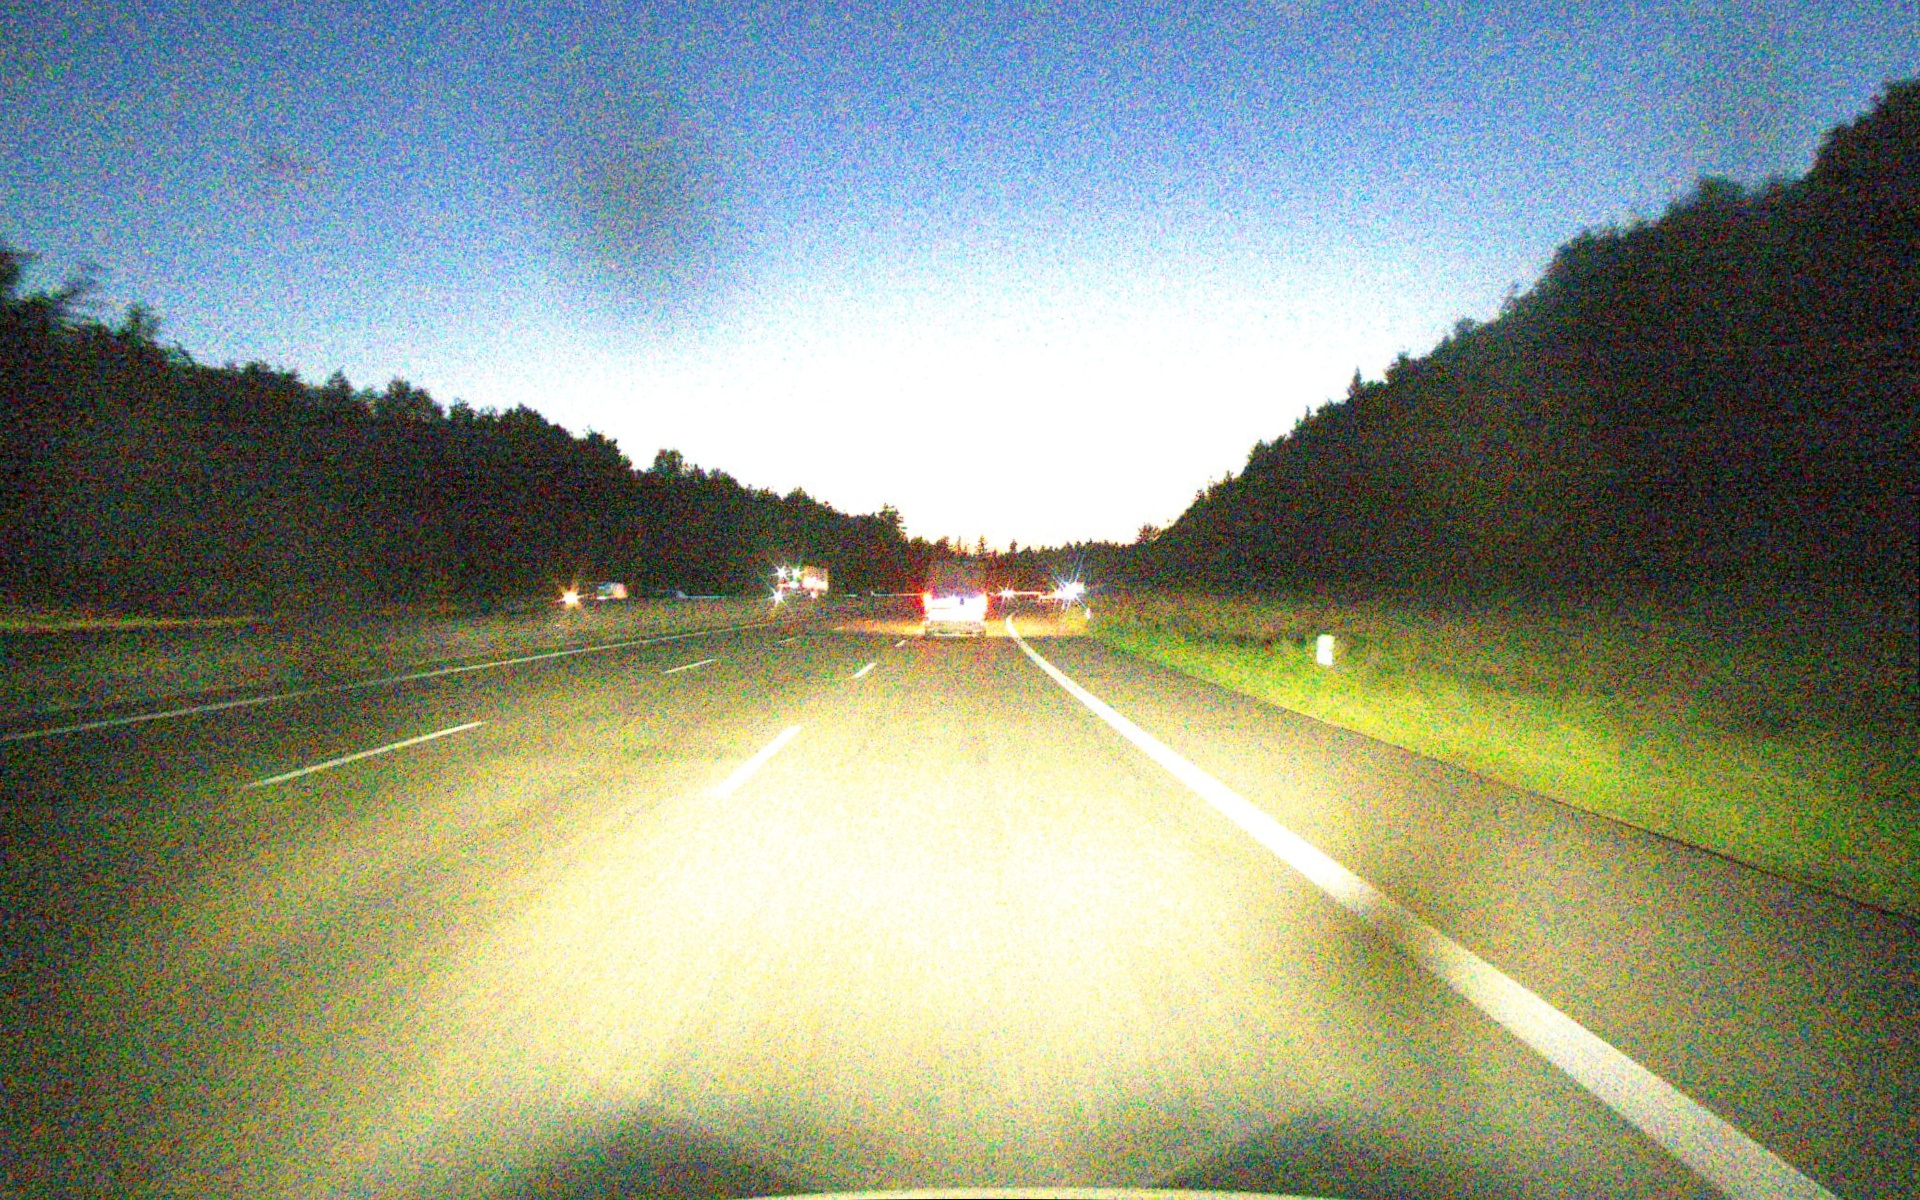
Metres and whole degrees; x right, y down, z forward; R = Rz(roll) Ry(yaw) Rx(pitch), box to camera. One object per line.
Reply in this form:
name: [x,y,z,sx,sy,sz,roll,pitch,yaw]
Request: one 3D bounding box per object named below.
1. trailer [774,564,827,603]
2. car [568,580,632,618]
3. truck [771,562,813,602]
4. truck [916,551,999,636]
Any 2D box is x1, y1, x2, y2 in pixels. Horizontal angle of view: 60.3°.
trailer: [-17.417,-1.733,181.830,3.469,4.070,17.287,0,0,2]
car: [-18.082,-0.033,83.309,1.952,1.853,5.687,0,0,0]
truck: [-17.699,-1.861,174.633,3.429,4.039,6.701,0,0,3]
truck: [-0.197,-0.185,56.483,2.577,2.670,8.681,0,0,-2]
